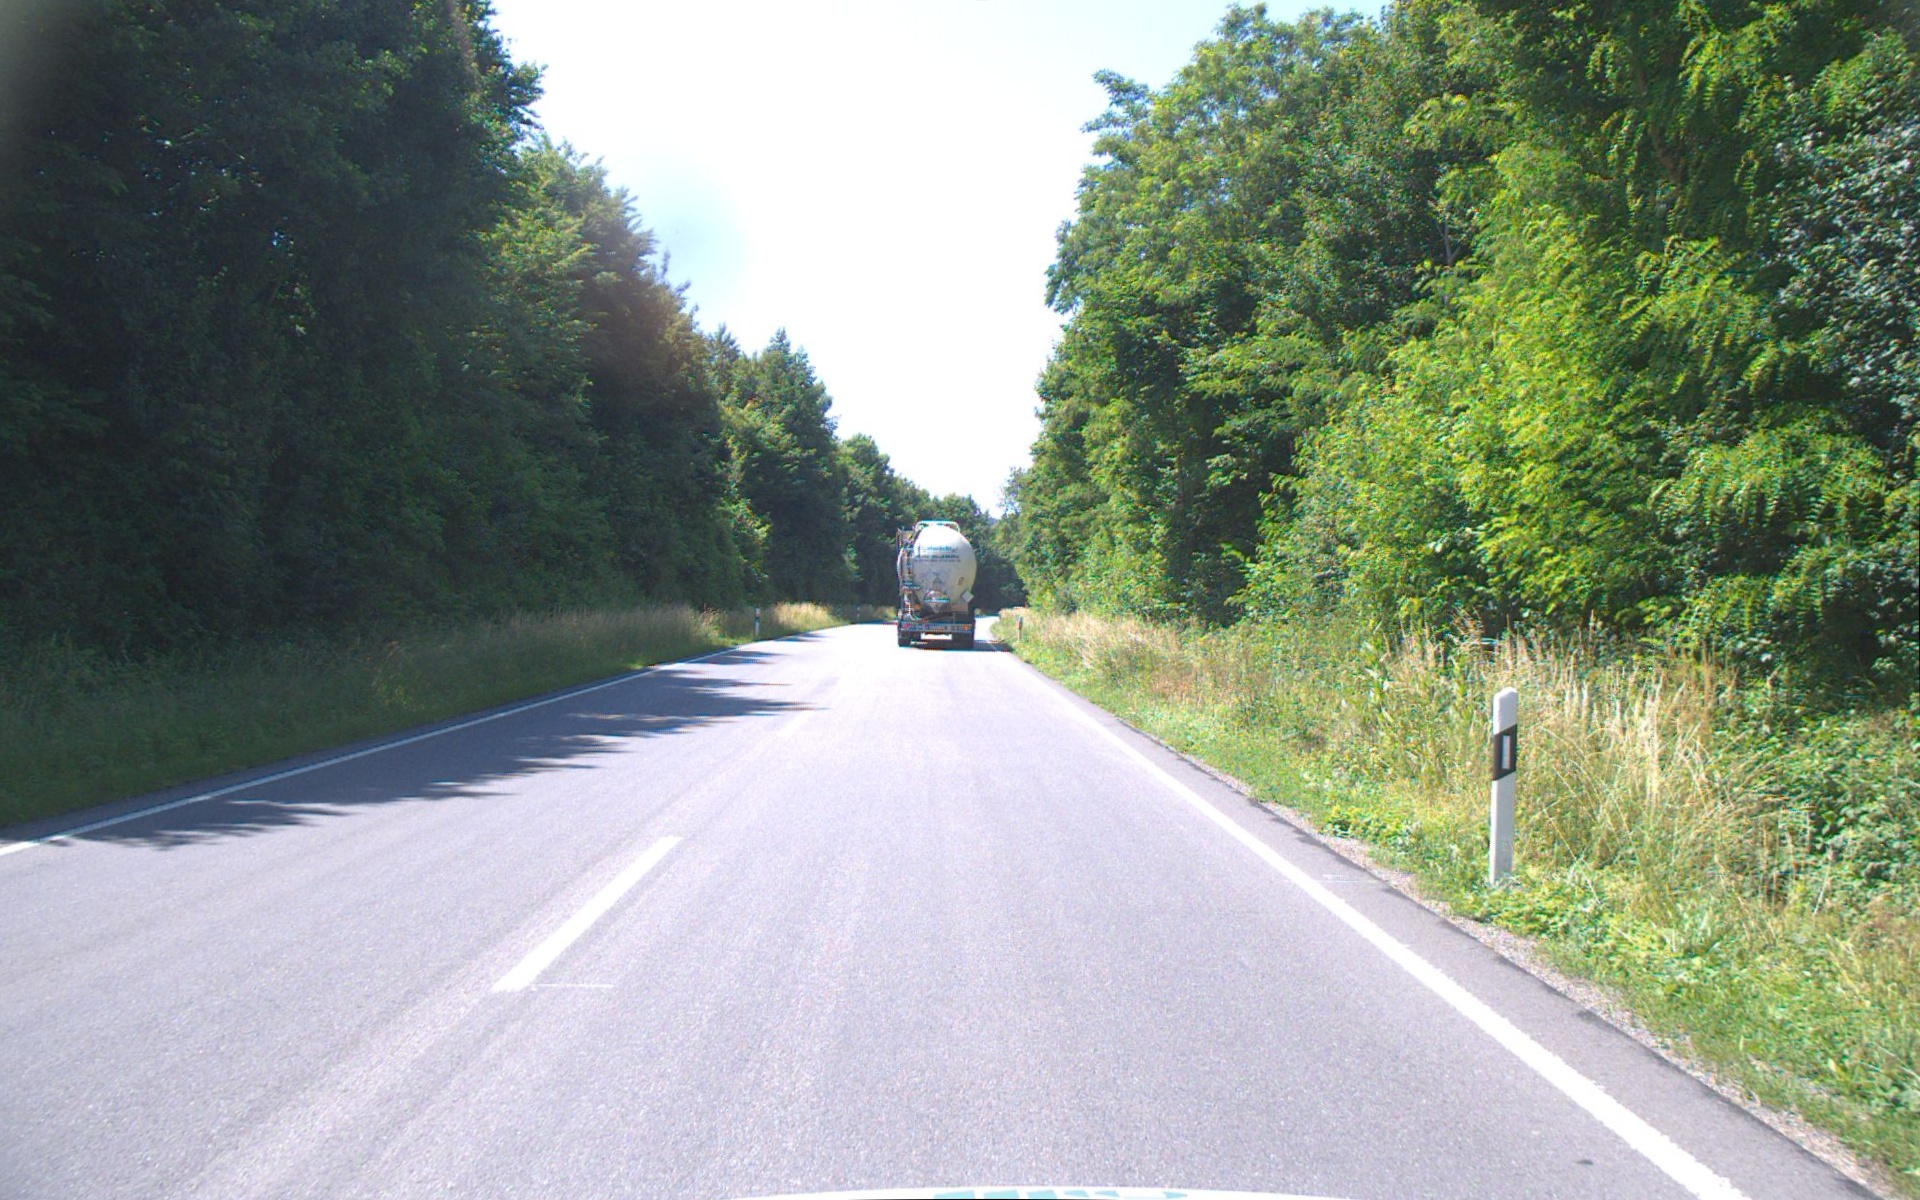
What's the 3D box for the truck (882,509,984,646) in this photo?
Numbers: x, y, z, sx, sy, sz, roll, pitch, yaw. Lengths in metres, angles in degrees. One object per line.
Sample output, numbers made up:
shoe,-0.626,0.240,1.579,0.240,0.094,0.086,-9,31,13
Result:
truck,-1.013,-0.661,58.600,2.988,4.068,15.631,2,0,-1
